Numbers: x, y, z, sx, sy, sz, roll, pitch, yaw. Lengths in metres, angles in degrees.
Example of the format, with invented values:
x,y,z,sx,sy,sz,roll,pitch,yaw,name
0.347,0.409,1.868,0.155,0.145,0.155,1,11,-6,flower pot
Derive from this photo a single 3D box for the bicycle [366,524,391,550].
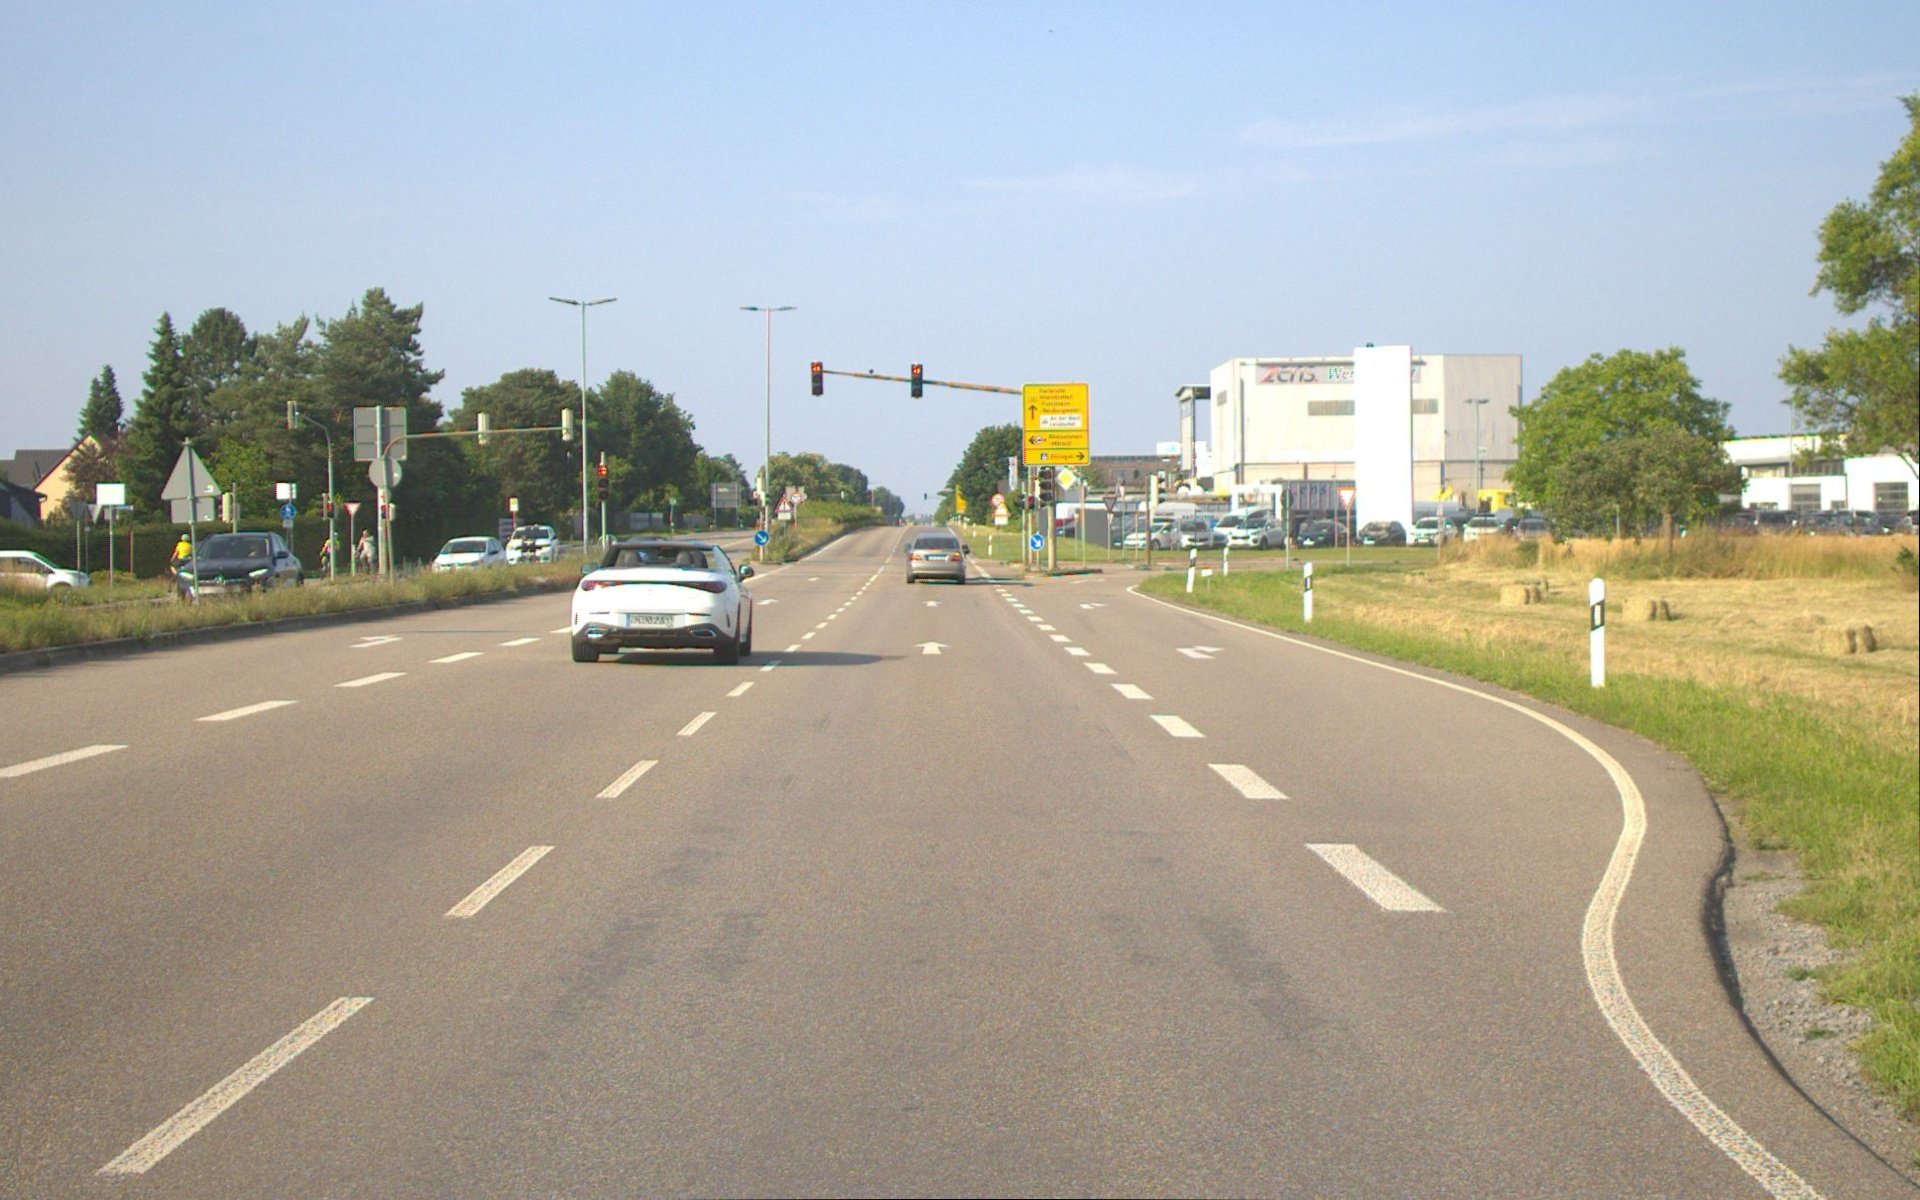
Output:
x,y,z,sx,sy,sz,roll,pitch,yaw,name
-23.706,-2.560,140.208,0.813,1.031,1.949,1,2,-5,bicycle

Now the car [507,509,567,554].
x,y,z,sx,sy,sz,roll,pitch,yaw,name
-17.427,-2.844,141.922,1.947,1.794,4.000,1,2,0,car

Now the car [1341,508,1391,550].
x,y,z,sx,sy,sz,roll,pitch,yaw,name
20.064,-3.514,170.065,1.993,2.006,4.000,1,2,1,car

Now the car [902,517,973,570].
x,y,z,sx,sy,sz,roll,pitch,yaw,name
-0.678,-1.664,100.304,1.993,1.481,4.001,1,2,-1,car

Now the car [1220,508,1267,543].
x,y,z,sx,sy,sz,roll,pitch,yaw,name
13.920,-3.669,169.015,1.993,1.638,4.000,1,2,1,car

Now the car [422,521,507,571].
x,y,z,sx,sy,sz,roll,pitch,yaw,name
-14.548,-1.593,101.126,1.993,1.393,4.001,1,2,-1,car

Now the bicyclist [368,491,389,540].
x,y,z,sx,sy,sz,roll,pitch,yaw,name
-23.672,-3.439,140.031,0.789,2.006,0.691,1,2,-5,bicyclist

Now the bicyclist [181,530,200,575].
x,y,z,sx,sy,sz,roll,pitch,yaw,name
-23.463,-1.457,104.853,0.455,1.347,0.552,-1,2,-3,bicyclist

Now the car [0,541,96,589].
x,y,z,sx,sy,sz,roll,pitch,yaw,name
-30.588,-1.166,112.723,4.182,1.517,2.001,1,2,-8,car

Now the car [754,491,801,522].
x,y,z,sx,sy,sz,roll,pitch,yaw,name
-8.451,-4.348,159.706,1.947,1.403,4.000,1,2,0,car

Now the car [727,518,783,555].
x,y,z,sx,sy,sz,roll,pitch,yaw,name
-8.025,-2.506,134.850,1.947,1.403,4.000,1,2,0,car

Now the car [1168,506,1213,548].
x,y,z,sx,sy,sz,roll,pitch,yaw,name
11.326,-3.617,168.962,1.993,2.006,4.000,1,2,1,car

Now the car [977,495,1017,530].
x,y,z,sx,sy,sz,roll,pitch,yaw,name
1.875,-4.445,174.056,1.993,1.751,4.000,1,2,1,car

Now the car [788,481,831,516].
x,y,z,sx,sy,sz,roll,pitch,yaw,name
-7.615,-5.135,173.961,1.947,1.766,4.000,1,2,0,car

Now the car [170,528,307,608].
x,y,z,sx,sy,sz,roll,pitch,yaw,name
-13.722,-0.634,65.553,1.729,1.403,4.000,1,2,0,car

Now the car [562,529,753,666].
x,y,z,sx,sy,sz,roll,pitch,yaw,name
-3.413,-0.067,39.424,1.909,1.417,4.001,1,2,-1,car

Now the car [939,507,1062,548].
x,y,z,sx,sy,sz,roll,pitch,yaw,name
1.466,-2.615,123.747,3.986,1.403,1.955,0,2,-20,car
